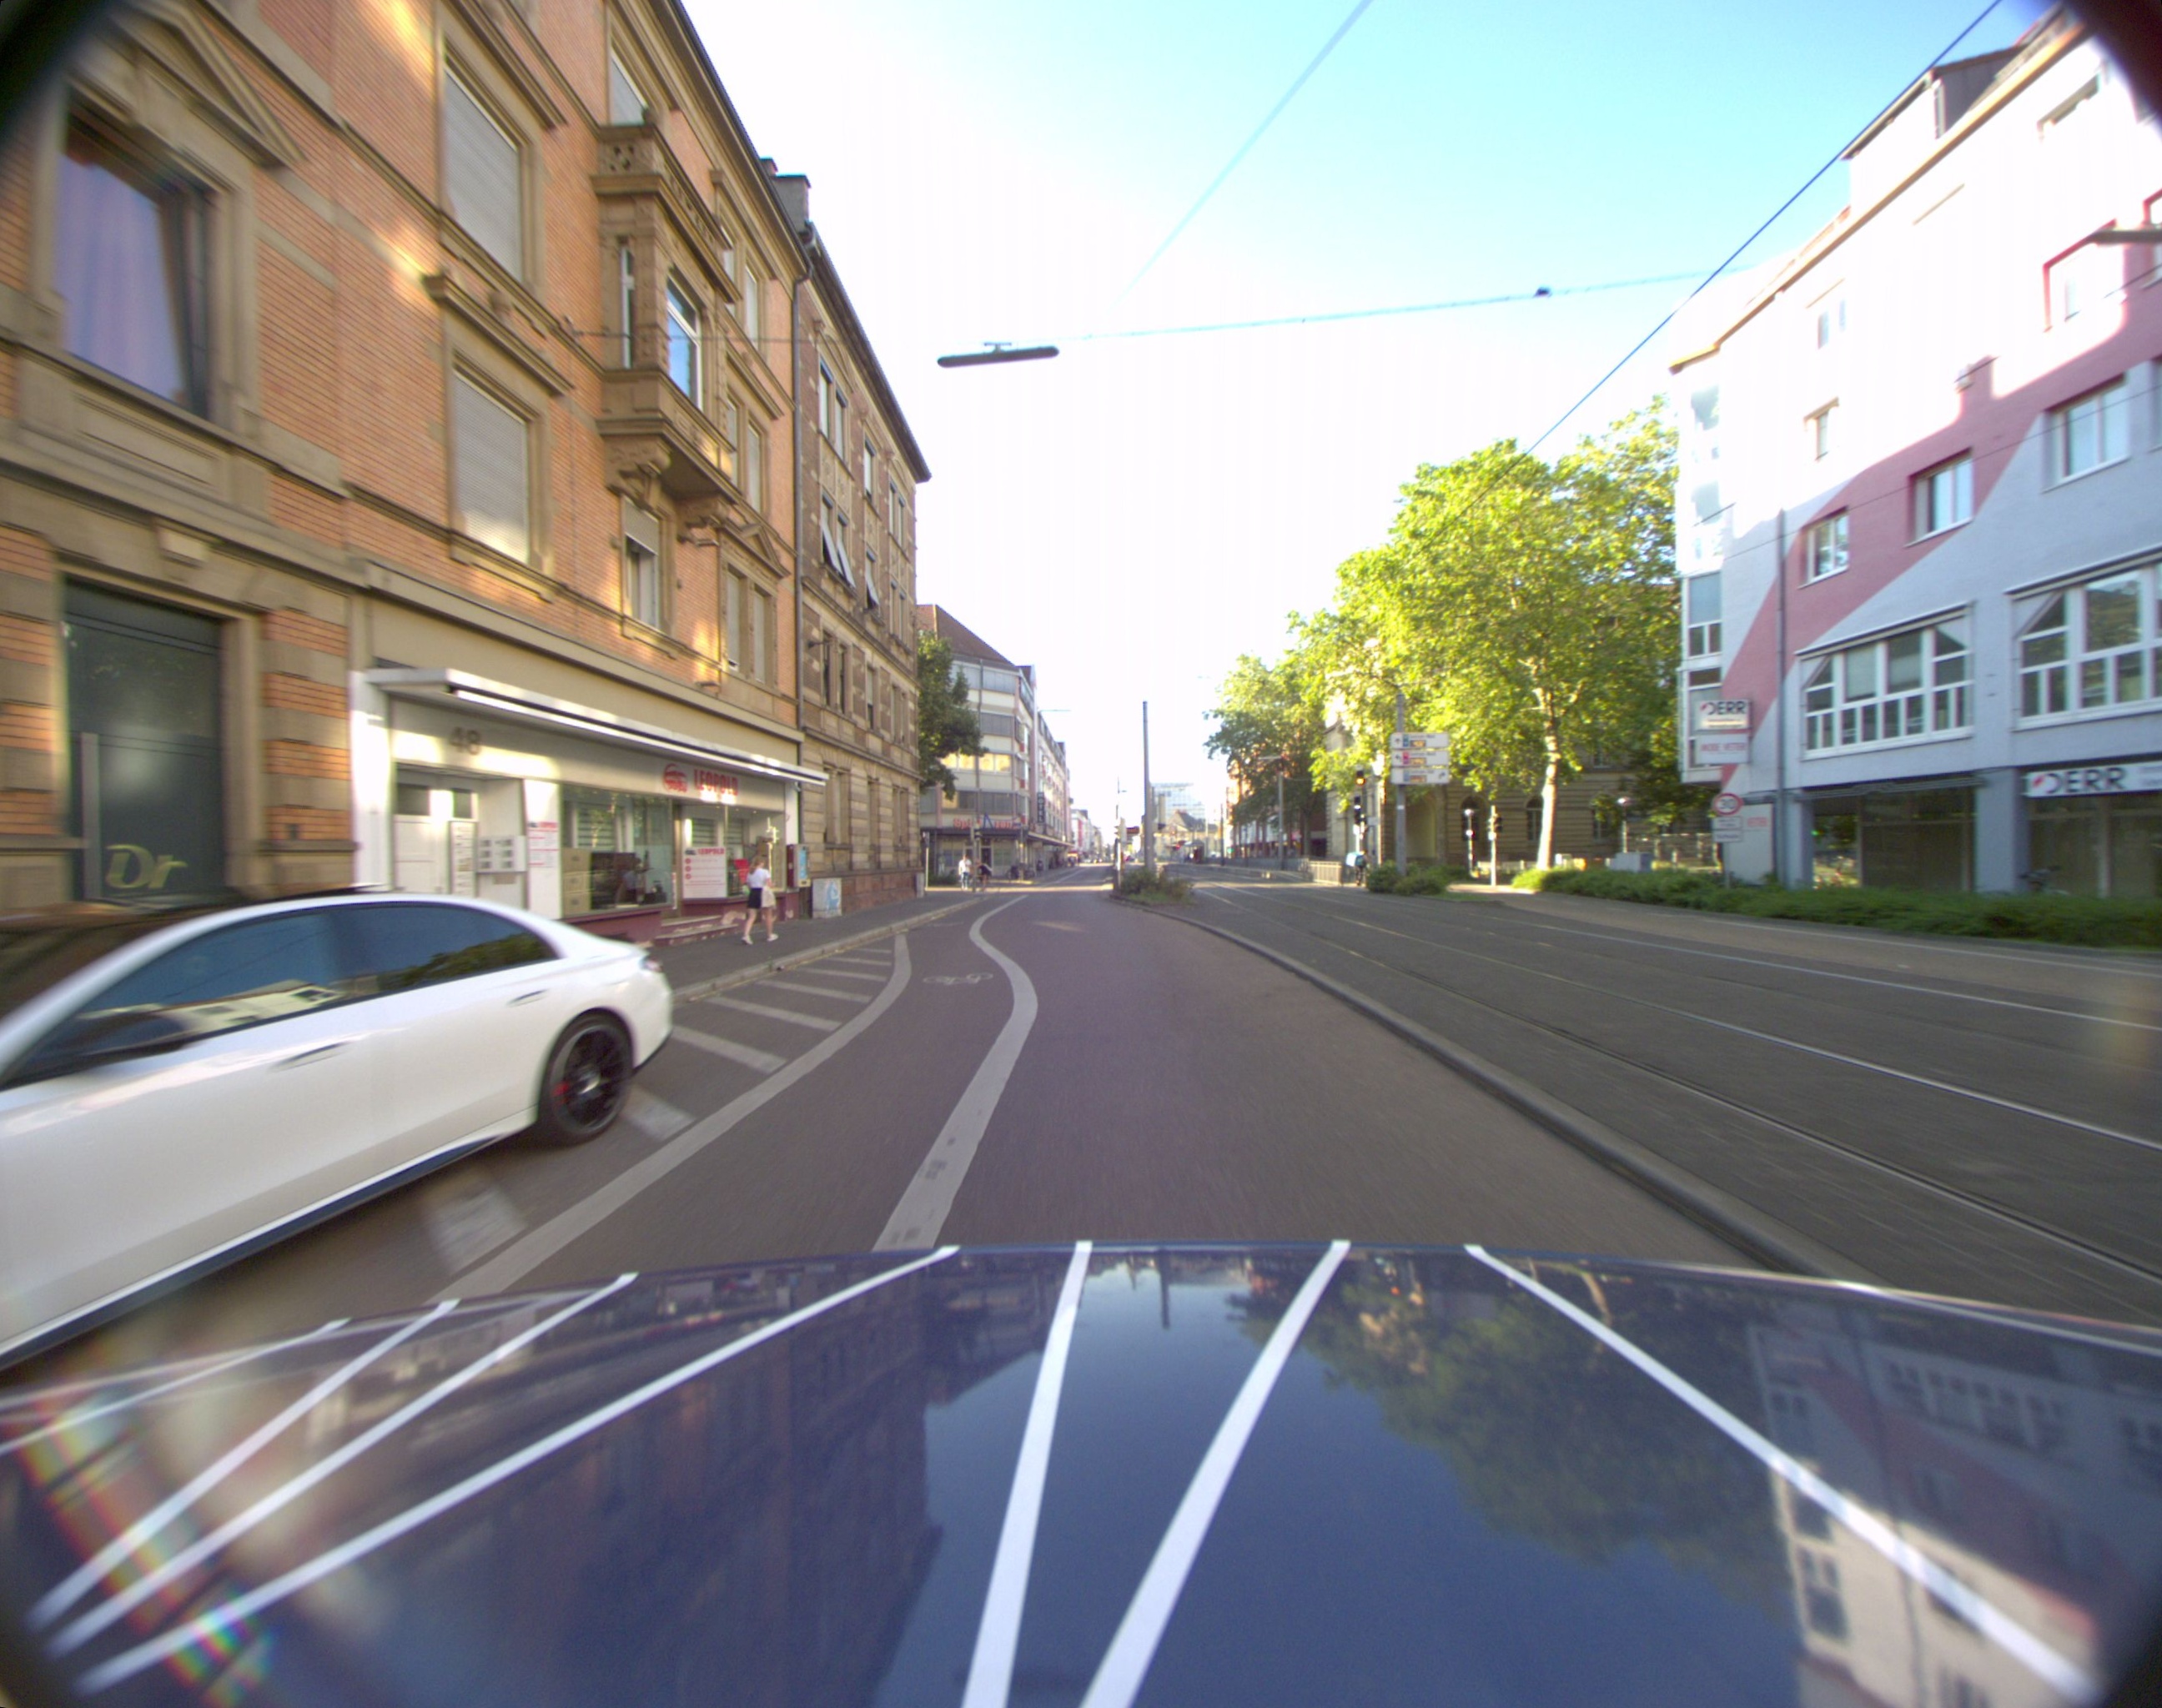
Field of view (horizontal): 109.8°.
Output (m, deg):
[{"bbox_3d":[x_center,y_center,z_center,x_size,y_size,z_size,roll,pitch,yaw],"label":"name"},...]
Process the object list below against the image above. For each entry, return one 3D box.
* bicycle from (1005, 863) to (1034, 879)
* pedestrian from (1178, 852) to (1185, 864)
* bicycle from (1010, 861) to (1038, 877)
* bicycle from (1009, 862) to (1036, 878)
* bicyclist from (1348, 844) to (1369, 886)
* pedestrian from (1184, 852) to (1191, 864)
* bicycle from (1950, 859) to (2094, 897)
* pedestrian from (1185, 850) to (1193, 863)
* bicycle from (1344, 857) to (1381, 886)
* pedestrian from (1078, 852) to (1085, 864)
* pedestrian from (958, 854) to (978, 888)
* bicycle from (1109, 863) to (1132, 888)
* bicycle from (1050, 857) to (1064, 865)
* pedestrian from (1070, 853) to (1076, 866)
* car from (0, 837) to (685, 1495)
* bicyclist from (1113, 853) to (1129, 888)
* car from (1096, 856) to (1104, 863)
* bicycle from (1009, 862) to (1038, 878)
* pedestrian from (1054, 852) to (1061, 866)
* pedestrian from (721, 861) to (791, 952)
[{"bbox_3d":[-4.081,1.119,50.703,1.838,1.048,0.710,-1,0,-1],"label":"bicycle"},{"bbox_3d":[15.040,0.606,113.910,0.860,1.756,0.811,-3,1,8],"label":"pedestrian"},{"bbox_3d":[-4.000,1.068,53.763,1.918,1.041,0.681,-1,0,-1],"label":"bicycle"},{"bbox_3d":[-4.030,1.112,52.377,1.838,1.048,0.718,-1,0,-1],"label":"bicycle"},{"bbox_3d":[11.486,0.443,31.430,0.747,1.702,0.532,-1,1,-43],"label":"bicyclist"},{"bbox_3d":[16.055,0.541,114.678,0.859,1.756,0.812,-3,1,10],"label":"pedestrian"},{"bbox_3d":[18.030,0.443,14.629,0.457,0.654,1.809,-3,0,-3],"label":"bicycle"},{"bbox_3d":[13.831,0.263,97.645,0.913,1.652,0.967,-1,1,2],"label":"pedestrian"},{"bbox_3d":[11.725,0.726,31.637,1.903,1.071,0.582,-4,1,-41],"label":"bicycle"},{"bbox_3d":[0.083,0.640,124.719,0.812,1.793,0.859,-4,1,-26],"label":"pedestrian"},{"bbox_3d":[-5.681,0.840,38.151,0.785,1.655,1.034,-1,-1,3],"label":"pedestrian"},{"bbox_3d":[1.750,0.940,34.138,0.584,1.071,1.898,-4,0,-9],"label":"bicycle"},{"bbox_3d":[-3.341,1.023,105.315,1.928,1.054,0.576,1,1,2],"label":"bicycle"},{"bbox_3d":[-1.090,0.769,103.068,0.800,1.712,1.061,2,1,3],"label":"pedestrian"},{"bbox_3d":[-3.864,0.867,2.788,1.971,1.761,4.876,-2,0,3],"label":"car"},{"bbox_3d":[1.785,0.727,33.945,0.534,1.569,0.744,-1,1,-14],"label":"bicyclist"},{"bbox_3d":[4.812,1.427,189.823,1.971,1.664,4.876,-2,0,2],"label":"car"},{"bbox_3d":[-4.008,1.089,53.106,1.975,1.098,0.614,-1,0,-1],"label":"bicycle"},{"bbox_3d":[-3.143,0.603,102.000,0.917,1.856,0.779,1,1,-1],"label":"pedestrian"},{"bbox_3d":[-5.874,0.919,13.794,0.777,1.558,0.914,2,1,5],"label":"pedestrian"}]
